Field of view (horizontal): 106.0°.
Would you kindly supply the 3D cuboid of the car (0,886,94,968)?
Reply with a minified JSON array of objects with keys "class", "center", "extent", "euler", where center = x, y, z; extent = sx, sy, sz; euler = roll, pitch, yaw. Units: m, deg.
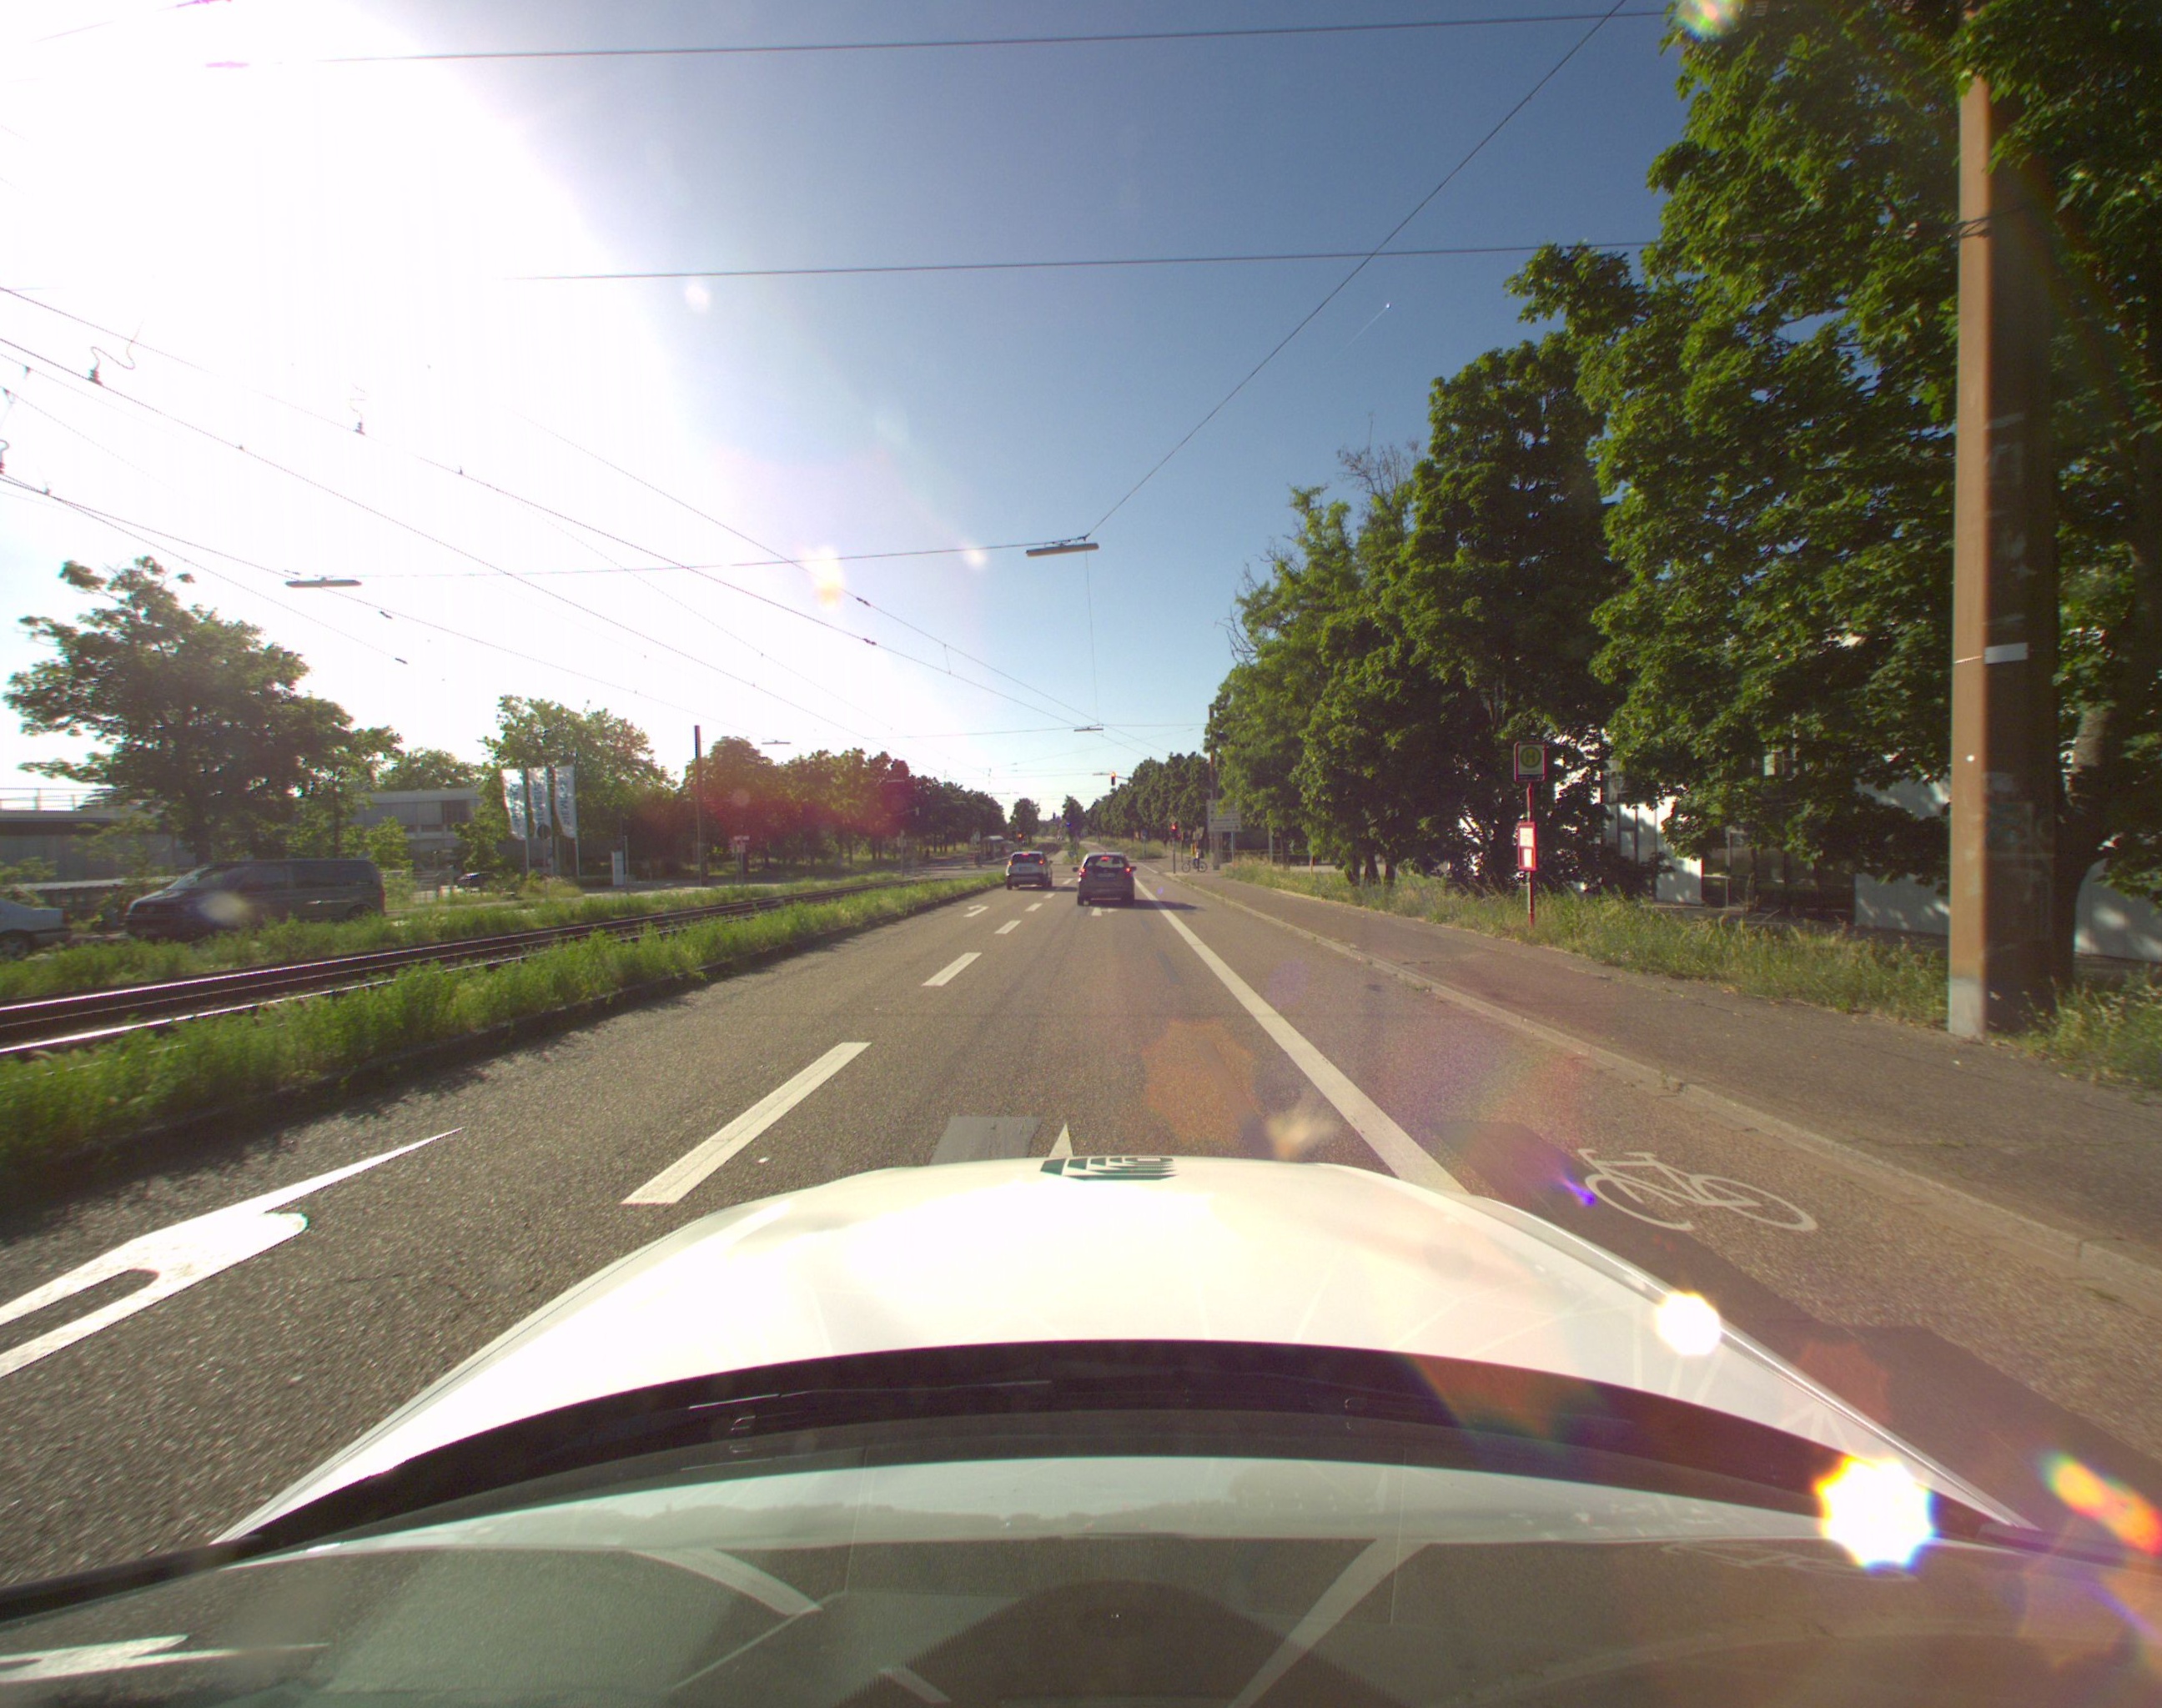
[{"class":"car","center":[-20.783,1.410,13.932],"extent":[1.921,1.437,4.697],"euler":[-2,1,2]}]

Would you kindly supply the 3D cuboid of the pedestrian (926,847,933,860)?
[{"class":"pedestrian","center":[-22.395,-0.067,120.397],"extent":[0.837,2.013,0.863],"euler":[-2,0,0]}]

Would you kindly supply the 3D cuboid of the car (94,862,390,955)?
[{"class":"car","center":[-20.489,1.228,20.301],"extent":[2.187,1.891,4.796],"euler":[-1,0,4]}]

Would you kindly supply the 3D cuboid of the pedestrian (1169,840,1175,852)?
[{"class":"pedestrian","center":[12.380,-1.115,110.699],"extent":[0.676,1.610,0.720],"euler":[-1,0,0]}]

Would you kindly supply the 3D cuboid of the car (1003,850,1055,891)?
[{"class":"car","center":[-2.194,0.668,35.605],"extent":[1.844,1.606,4.256],"euler":[-2,0,2]}]

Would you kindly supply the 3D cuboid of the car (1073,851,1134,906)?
[{"class":"car","center":[0.727,0.694,24.892],"extent":[1.700,1.508,4.003],"euler":[-1,0,3]}]

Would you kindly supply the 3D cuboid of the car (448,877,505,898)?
[{"class":"car","center":[-50.005,2.721,67.442],"extent":[1.685,1.488,3.862],"euler":[-2,1,1]}]

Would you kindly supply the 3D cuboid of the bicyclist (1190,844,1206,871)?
[{"class":"bicyclist","center":[7.781,0.211,53.995],"extent":[0.904,1.745,0.767],"euler":[-3,0,13]}]

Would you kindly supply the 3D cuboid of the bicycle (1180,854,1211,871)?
[{"class":"bicycle","center":[7.595,0.592,54.039],"extent":[1.907,0.998,0.767],"euler":[-4,-1,12]}]

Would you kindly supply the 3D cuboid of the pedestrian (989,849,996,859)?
[{"class":"pedestrian","center":[-10.959,0.020,100.862],"extent":[0.718,1.246,0.711],"euler":[-3,0,0]}]

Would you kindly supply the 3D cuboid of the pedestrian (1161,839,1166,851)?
[{"class":"pedestrian","center":[11.175,-1.172,110.552],"extent":[0.565,1.596,0.665],"euler":[-1,0,-2]}]
